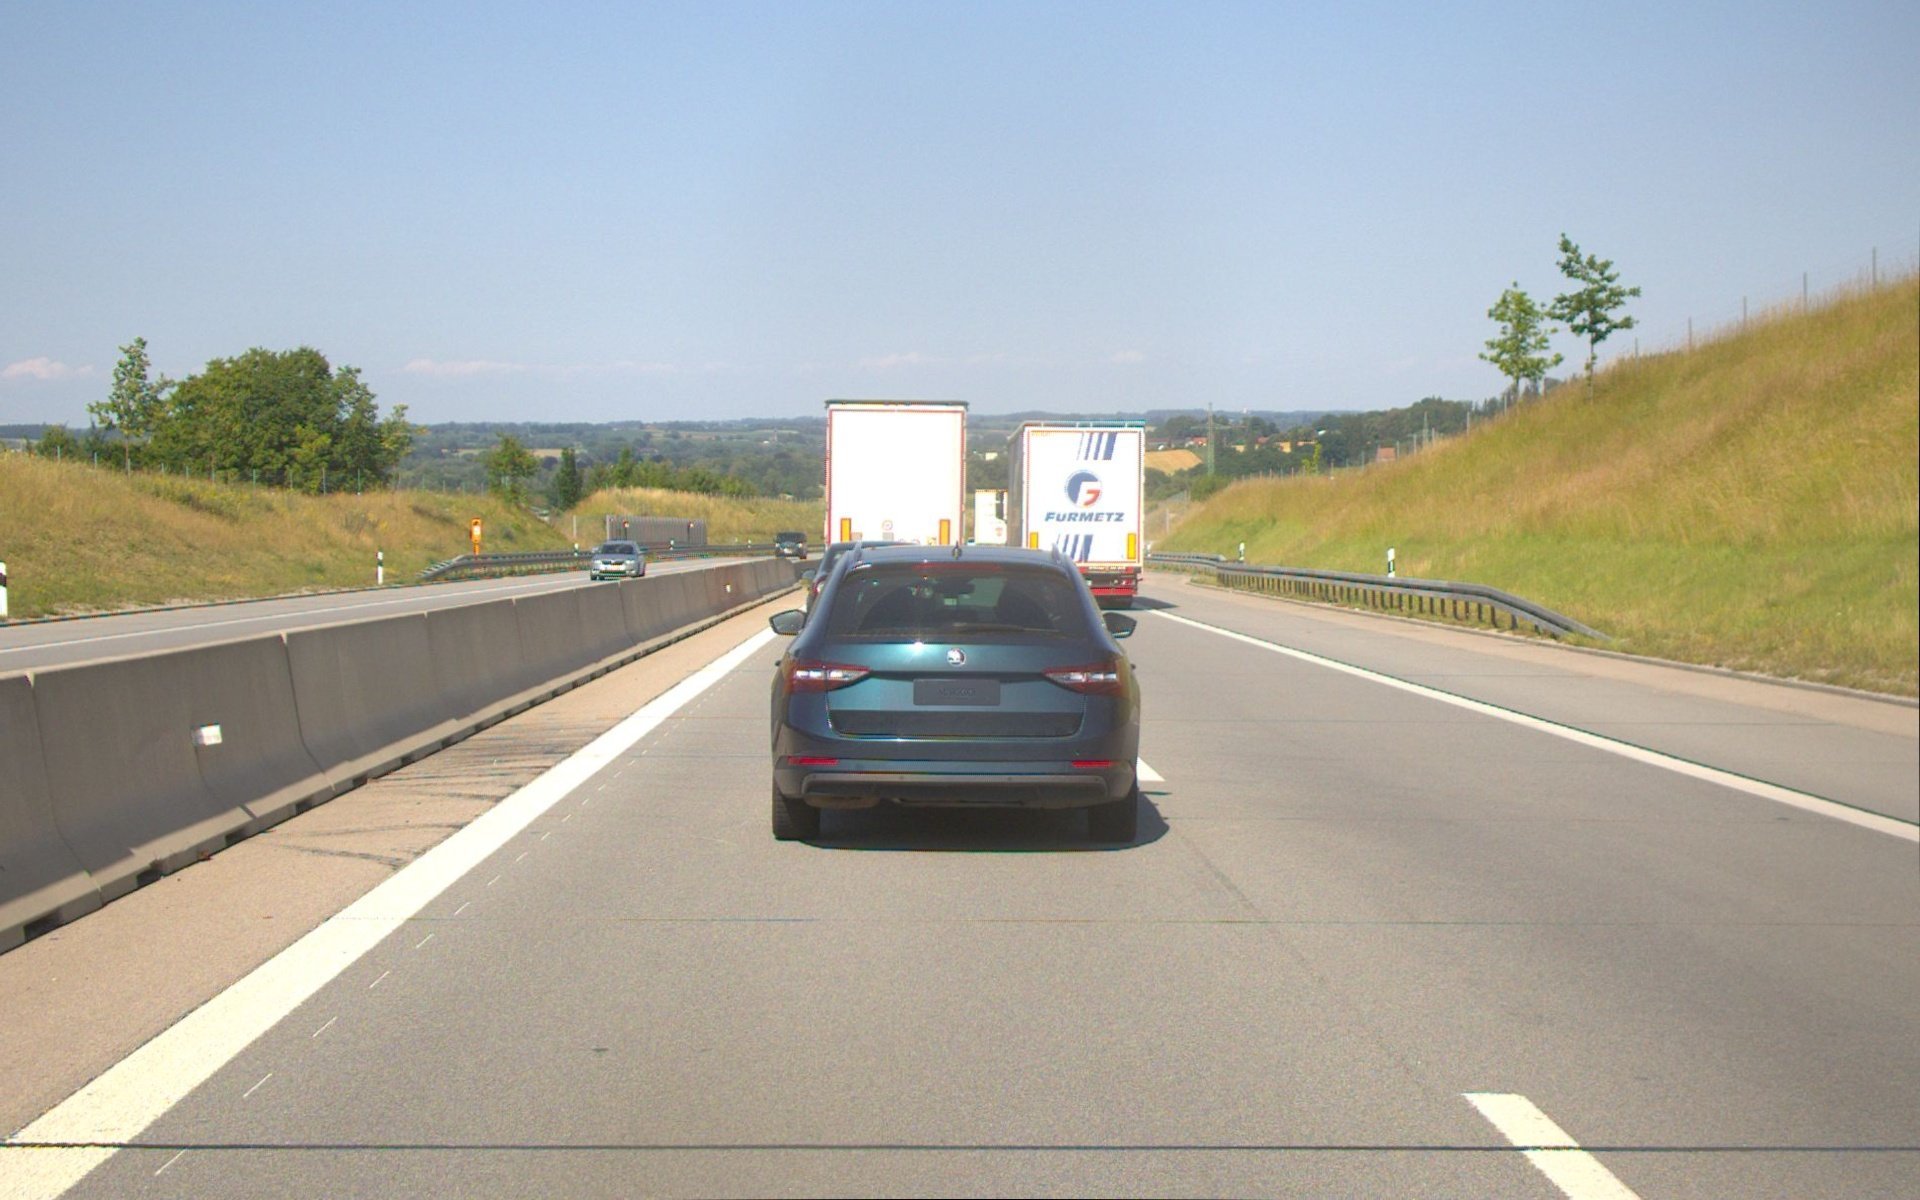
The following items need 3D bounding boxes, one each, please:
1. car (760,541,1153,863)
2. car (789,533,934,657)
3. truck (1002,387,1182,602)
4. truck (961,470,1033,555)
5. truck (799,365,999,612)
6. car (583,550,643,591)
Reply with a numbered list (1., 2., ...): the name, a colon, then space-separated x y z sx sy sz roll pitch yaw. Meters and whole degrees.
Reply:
1. car: -0.079 0.434 17.543 1.776 1.436 3.789 1 1 -2
2. car: -1.256 -0.104 43.594 1.700 1.436 4.001 -2 1 -2
3. truck: 2.929 -2.323 77.404 3.604 4.366 11.233 -2 1 2
4. truck: 2.083 -4.755 187.948 3.604 4.366 11.233 -2 1 2
5. truck: -1.044 -2.152 68.048 3.211 4.366 11.233 -2 1 2
6. car: -12.915 -1.123 128.155 1.803 1.466 4.527 0 1 -1
